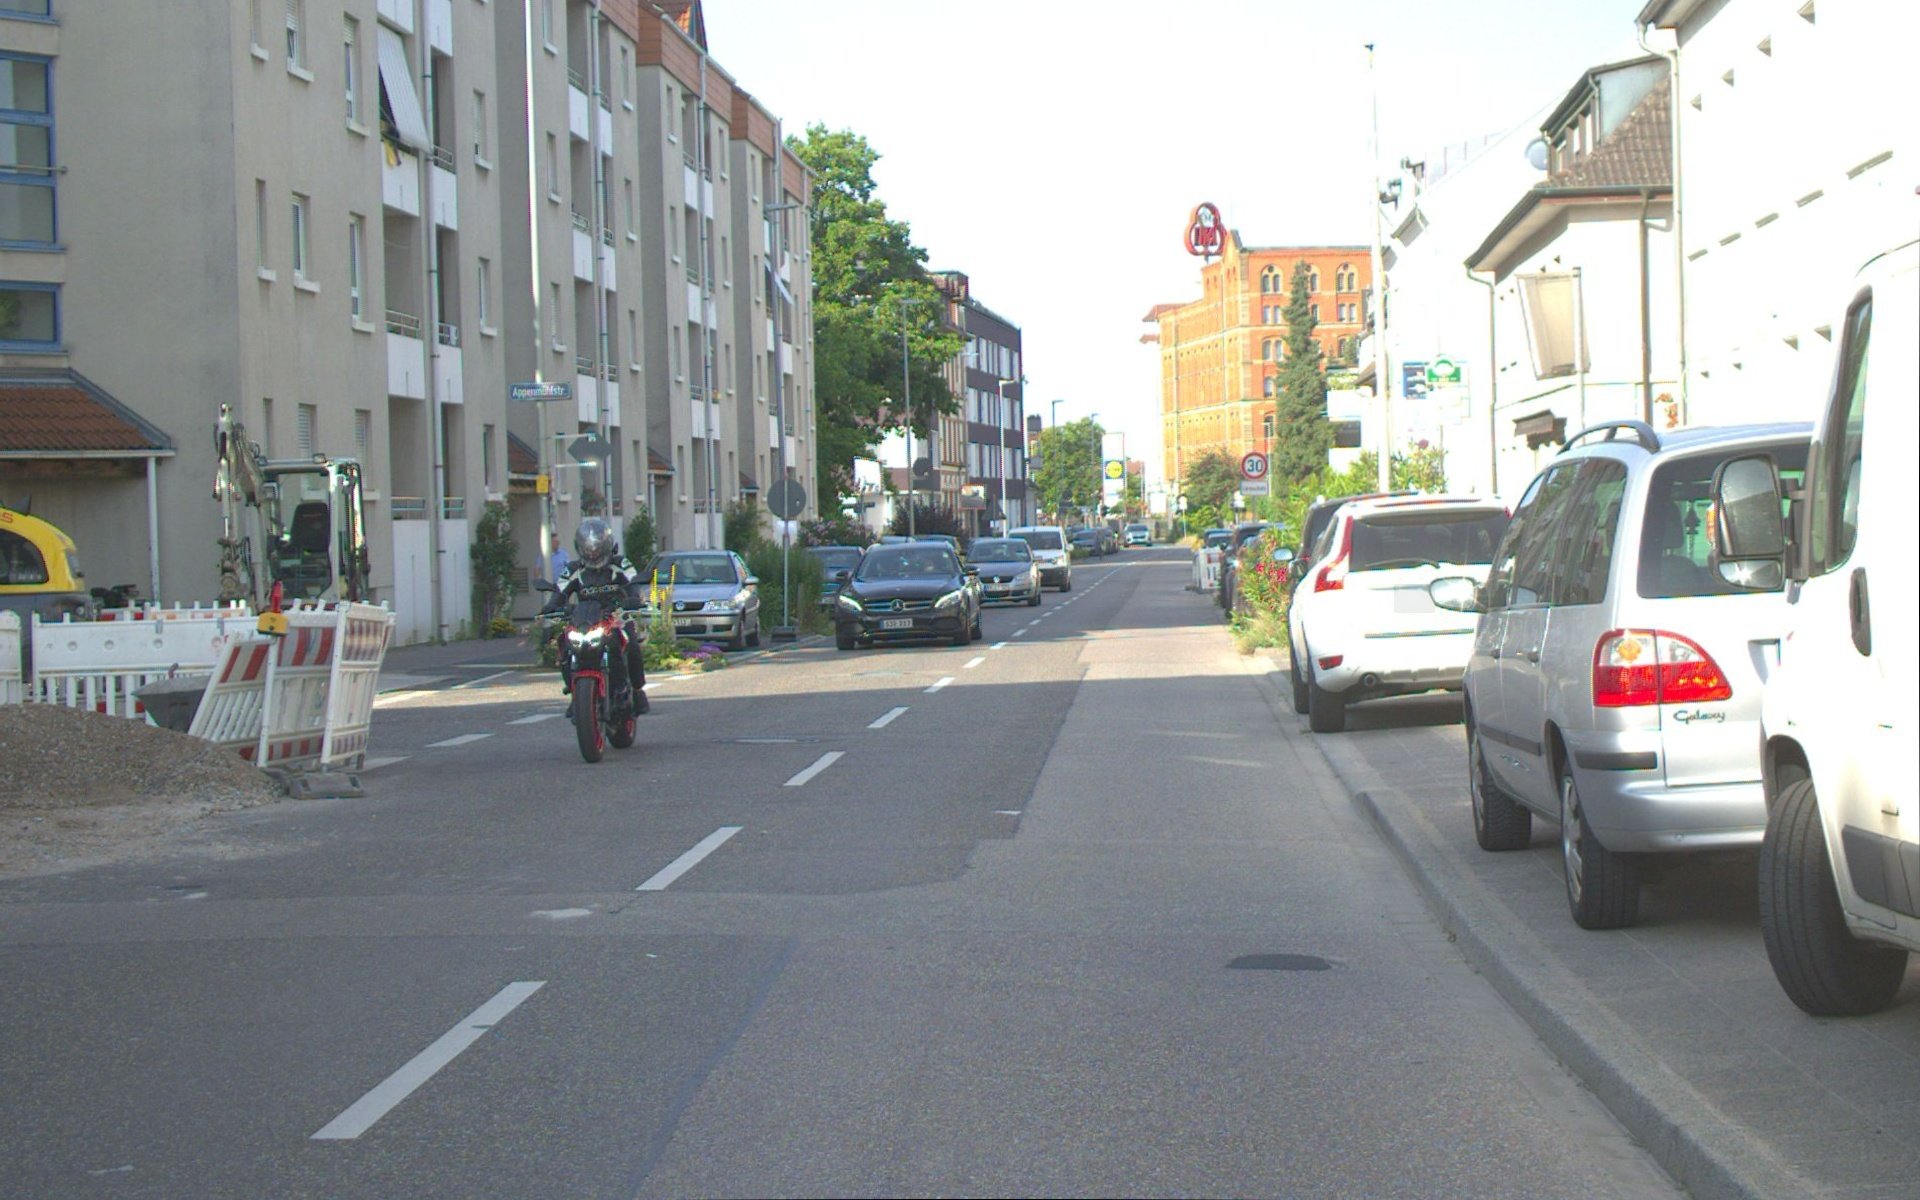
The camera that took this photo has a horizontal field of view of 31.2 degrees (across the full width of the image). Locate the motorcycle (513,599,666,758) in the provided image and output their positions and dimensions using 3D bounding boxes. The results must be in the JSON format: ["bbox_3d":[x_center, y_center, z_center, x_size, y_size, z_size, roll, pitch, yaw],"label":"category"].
[{"bbox_3d":[-2.529,0.518,23.697,0.768,0.981,2.199,-1,1,1],"label":"motorcycle"}]

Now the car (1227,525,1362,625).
[{"bbox_3d":[5.016,-0.411,52.042,1.779,1.415,4.496,-1,1,3],"label":"car"}]

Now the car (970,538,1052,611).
[{"bbox_3d":[1.110,-0.562,73.535,1.618,1.450,3.685,-2,1,3],"label":"car"}]

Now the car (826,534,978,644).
[{"bbox_3d":[-0.761,-0.180,47.886,1.830,1.415,4.209,-1,1,3],"label":"car"}]

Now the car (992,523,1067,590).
[{"bbox_3d":[1.924,-1.212,94.203,1.922,1.761,4.338,-1,1,3],"label":"car"}]

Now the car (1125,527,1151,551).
[{"bbox_3d":[12.621,-4.344,243.764,1.764,1.610,4.000,-2,1,4],"label":"car"}]

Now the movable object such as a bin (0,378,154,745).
[{"bbox_3d":[-9.393,-0.319,27.810,5.495,2.890,2.113,0,2,-11],"label":"movable object such as a bin"}]

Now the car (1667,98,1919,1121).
[{"bbox_3d":[3.254,-0.005,8.005,2.174,2.319,4.998,-2,2,1],"label":"car"}]

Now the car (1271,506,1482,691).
[{"bbox_3d":[3.790,-0.039,31.868,1.589,1.523,4.613,-2,1,3],"label":"car"}]

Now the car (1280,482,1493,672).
[{"bbox_3d":[4.570,-0.301,37.242,2.076,1.849,4.609,-2,2,6],"label":"car"}]

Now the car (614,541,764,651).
[{"bbox_3d":[-3.747,-0.086,47.996,1.640,1.390,3.671,-2,1,2],"label":"car"}]

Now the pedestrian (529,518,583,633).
[{"bbox_3d":[-6.447,-0.394,54.918,0.719,1.812,0.745,0,1,4],"label":"pedestrian"}]

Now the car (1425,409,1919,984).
[{"bbox_3d":[2.929,0.221,12.827,1.778,1.735,4.483,-2,2,1],"label":"car"}]

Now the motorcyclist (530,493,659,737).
[{"bbox_3d":[-2.517,0.089,23.762,0.769,1.646,0.844,-1,1,1],"label":"motorcyclist"}]

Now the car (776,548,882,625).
[{"bbox_3d":[-2.489,-0.281,66.118,1.686,1.401,4.084,0,1,3],"label":"car"}]

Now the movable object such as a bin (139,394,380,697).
[{"bbox_3d":[-7.651,-0.621,37.882,1.648,3.127,3.900,-1,1,2],"label":"movable object such as a bin"}]

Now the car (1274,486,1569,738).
[{"bbox_3d":[3.403,0.021,26.093,1.812,1.678,4.476,-2,2,3],"label":"car"}]
